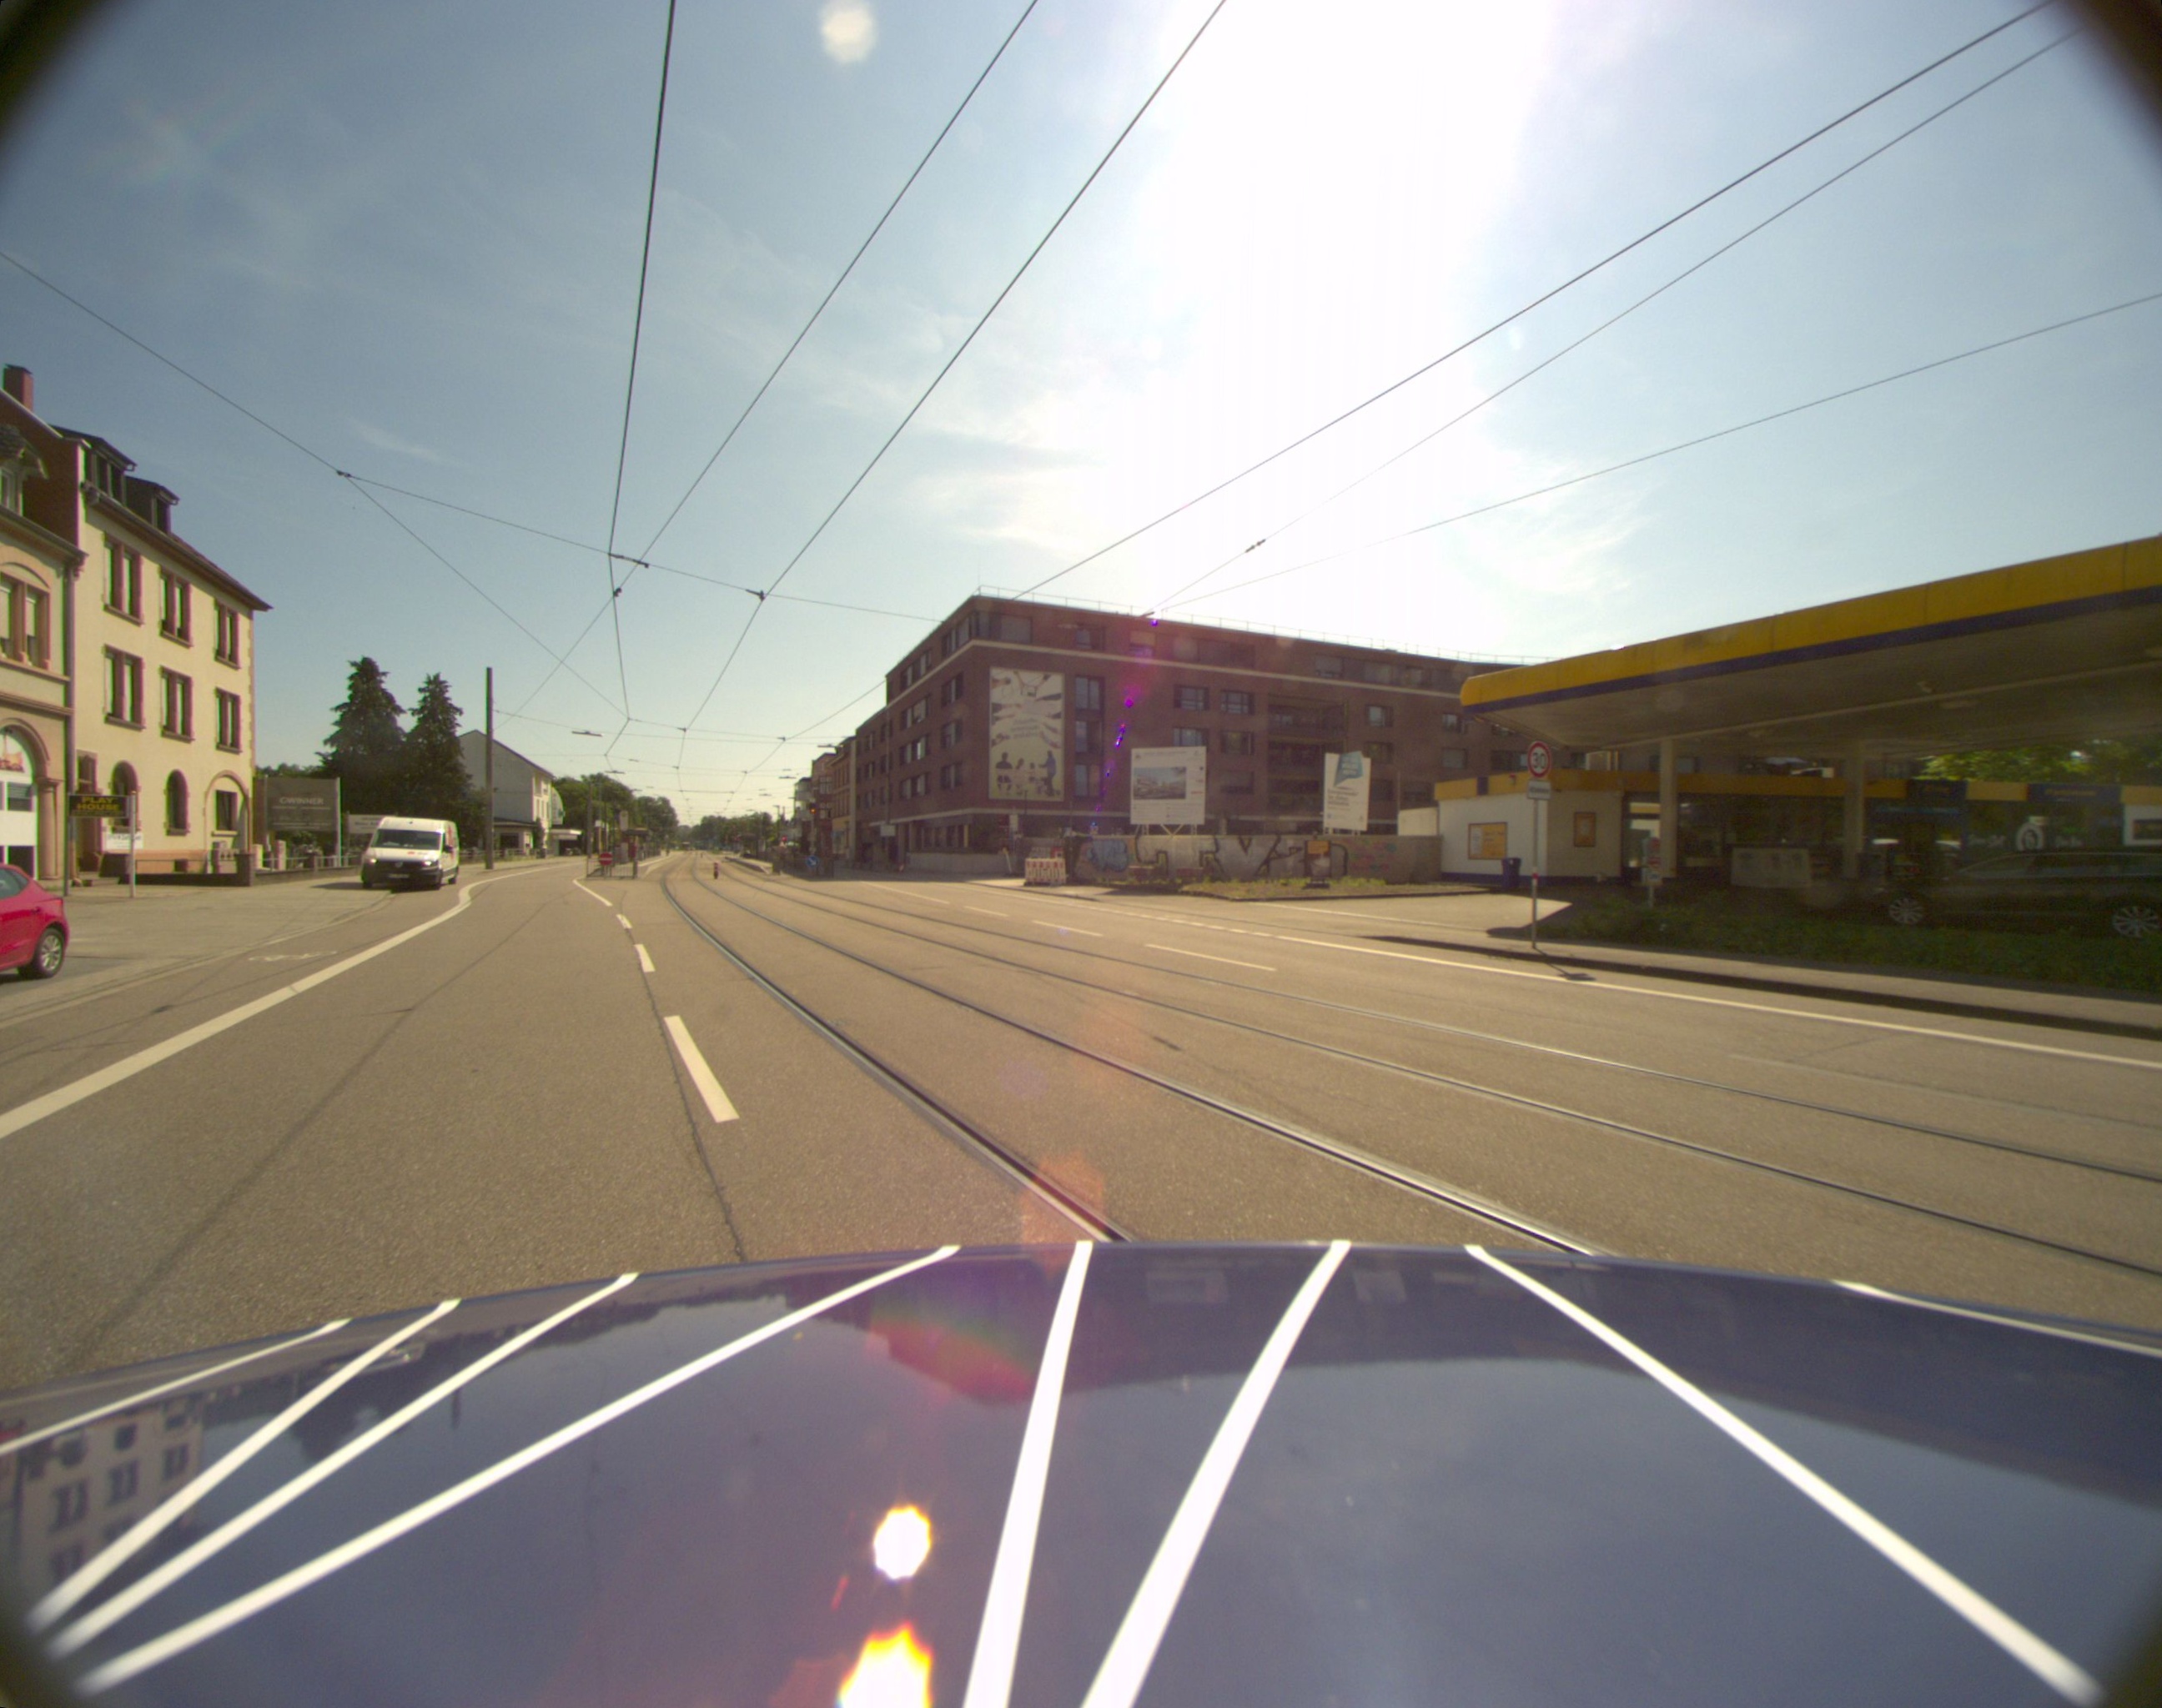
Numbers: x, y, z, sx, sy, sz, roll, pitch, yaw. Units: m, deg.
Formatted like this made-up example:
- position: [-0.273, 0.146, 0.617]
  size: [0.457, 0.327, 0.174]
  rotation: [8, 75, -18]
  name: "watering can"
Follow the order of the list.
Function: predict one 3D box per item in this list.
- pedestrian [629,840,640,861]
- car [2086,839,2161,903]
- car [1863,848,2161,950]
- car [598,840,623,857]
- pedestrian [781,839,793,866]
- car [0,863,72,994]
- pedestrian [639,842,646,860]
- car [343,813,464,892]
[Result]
- position: [-35.480, -0.282, 60.365]
  size: [0.709, 1.680, 0.415]
  rotation: [0, 1, -35]
  name: "pedestrian"
- position: [34.581, 0.552, 22.621]
  size: [1.762, 1.971, 5.299]
  rotation: [0, 1, -14]
  name: "car"
- position: [16.616, 0.675, 12.891]
  size: [1.762, 1.447, 4.405]
  rotation: [-3, 0, -11]
  name: "car"
- position: [-56.314, -0.670, 91.044]
  size: [2.002, 2.002, 3.991]
  rotation: [0, 1, -23]
  name: "car"
- position: [-19.252, -0.121, 49.721]
  size: [0.559, 1.750, 0.791]
  rotation: [-1, 2, -34]
  name: "pedestrian"
- position: [-12.273, 0.836, 7.408]
  size: [1.729, 1.398, 3.990]
  rotation: [0, 1, -34]
  name: "car"
- position: [-40.428, -0.258, 70.070]
  size: [0.417, 1.680, 0.705]
  rotation: [0, 1, -41]
  name: "pedestrian"
- position: [-24.633, -0.075, 27.927]
  size: [2.342, 2.520, 6.488]
  rotation: [3, -1, -34]
  name: "car"
